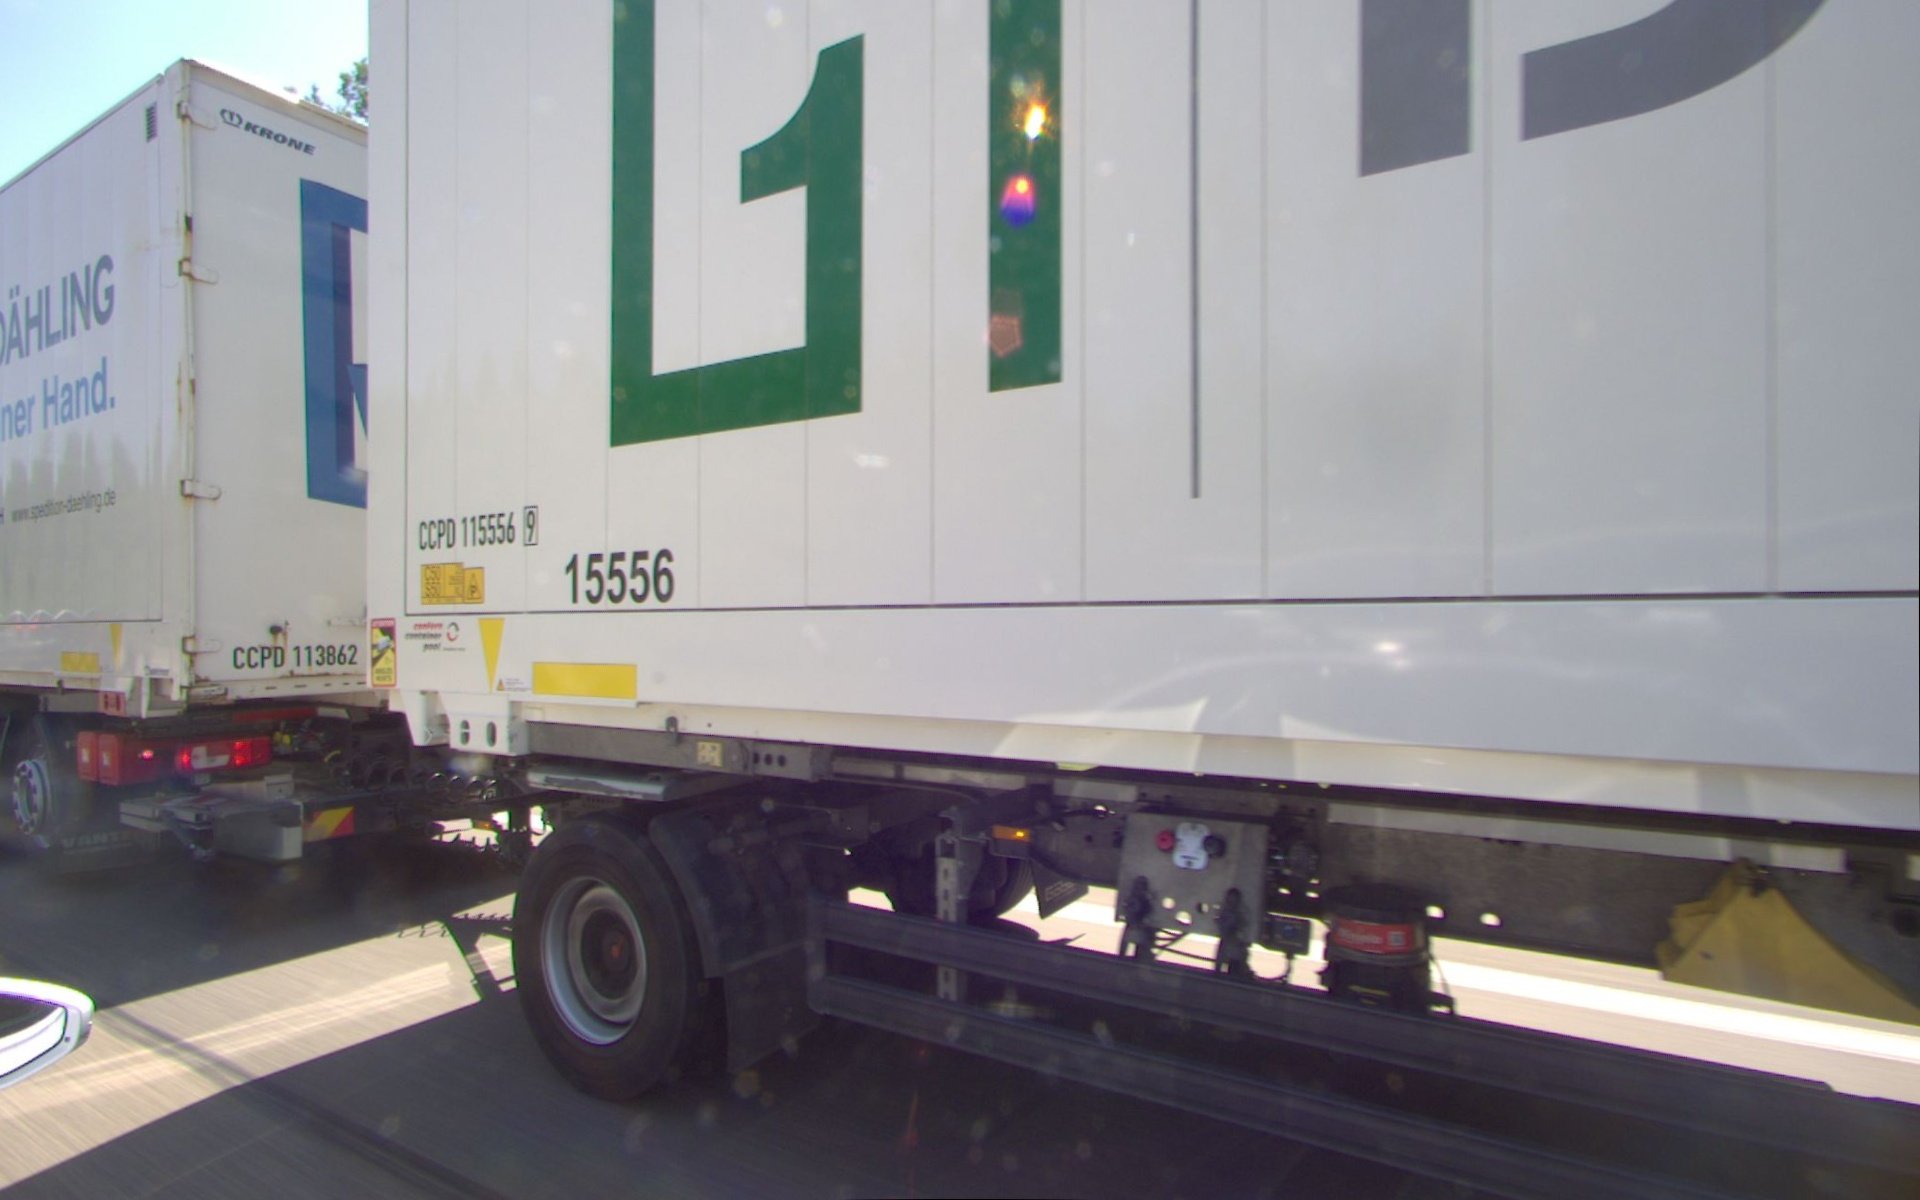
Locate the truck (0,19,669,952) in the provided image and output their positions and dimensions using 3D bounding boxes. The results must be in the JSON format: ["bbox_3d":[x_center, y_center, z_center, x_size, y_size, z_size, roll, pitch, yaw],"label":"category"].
[{"bbox_3d":[-7.094,-0.466,8.358,10.472,4.112,2.675,0,-1,32],"label":"truck"}]

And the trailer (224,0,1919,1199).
[{"bbox_3d":[1.834,-0.590,2.726,9.919,4.230,2.676,0,-1,32],"label":"trailer"}]
